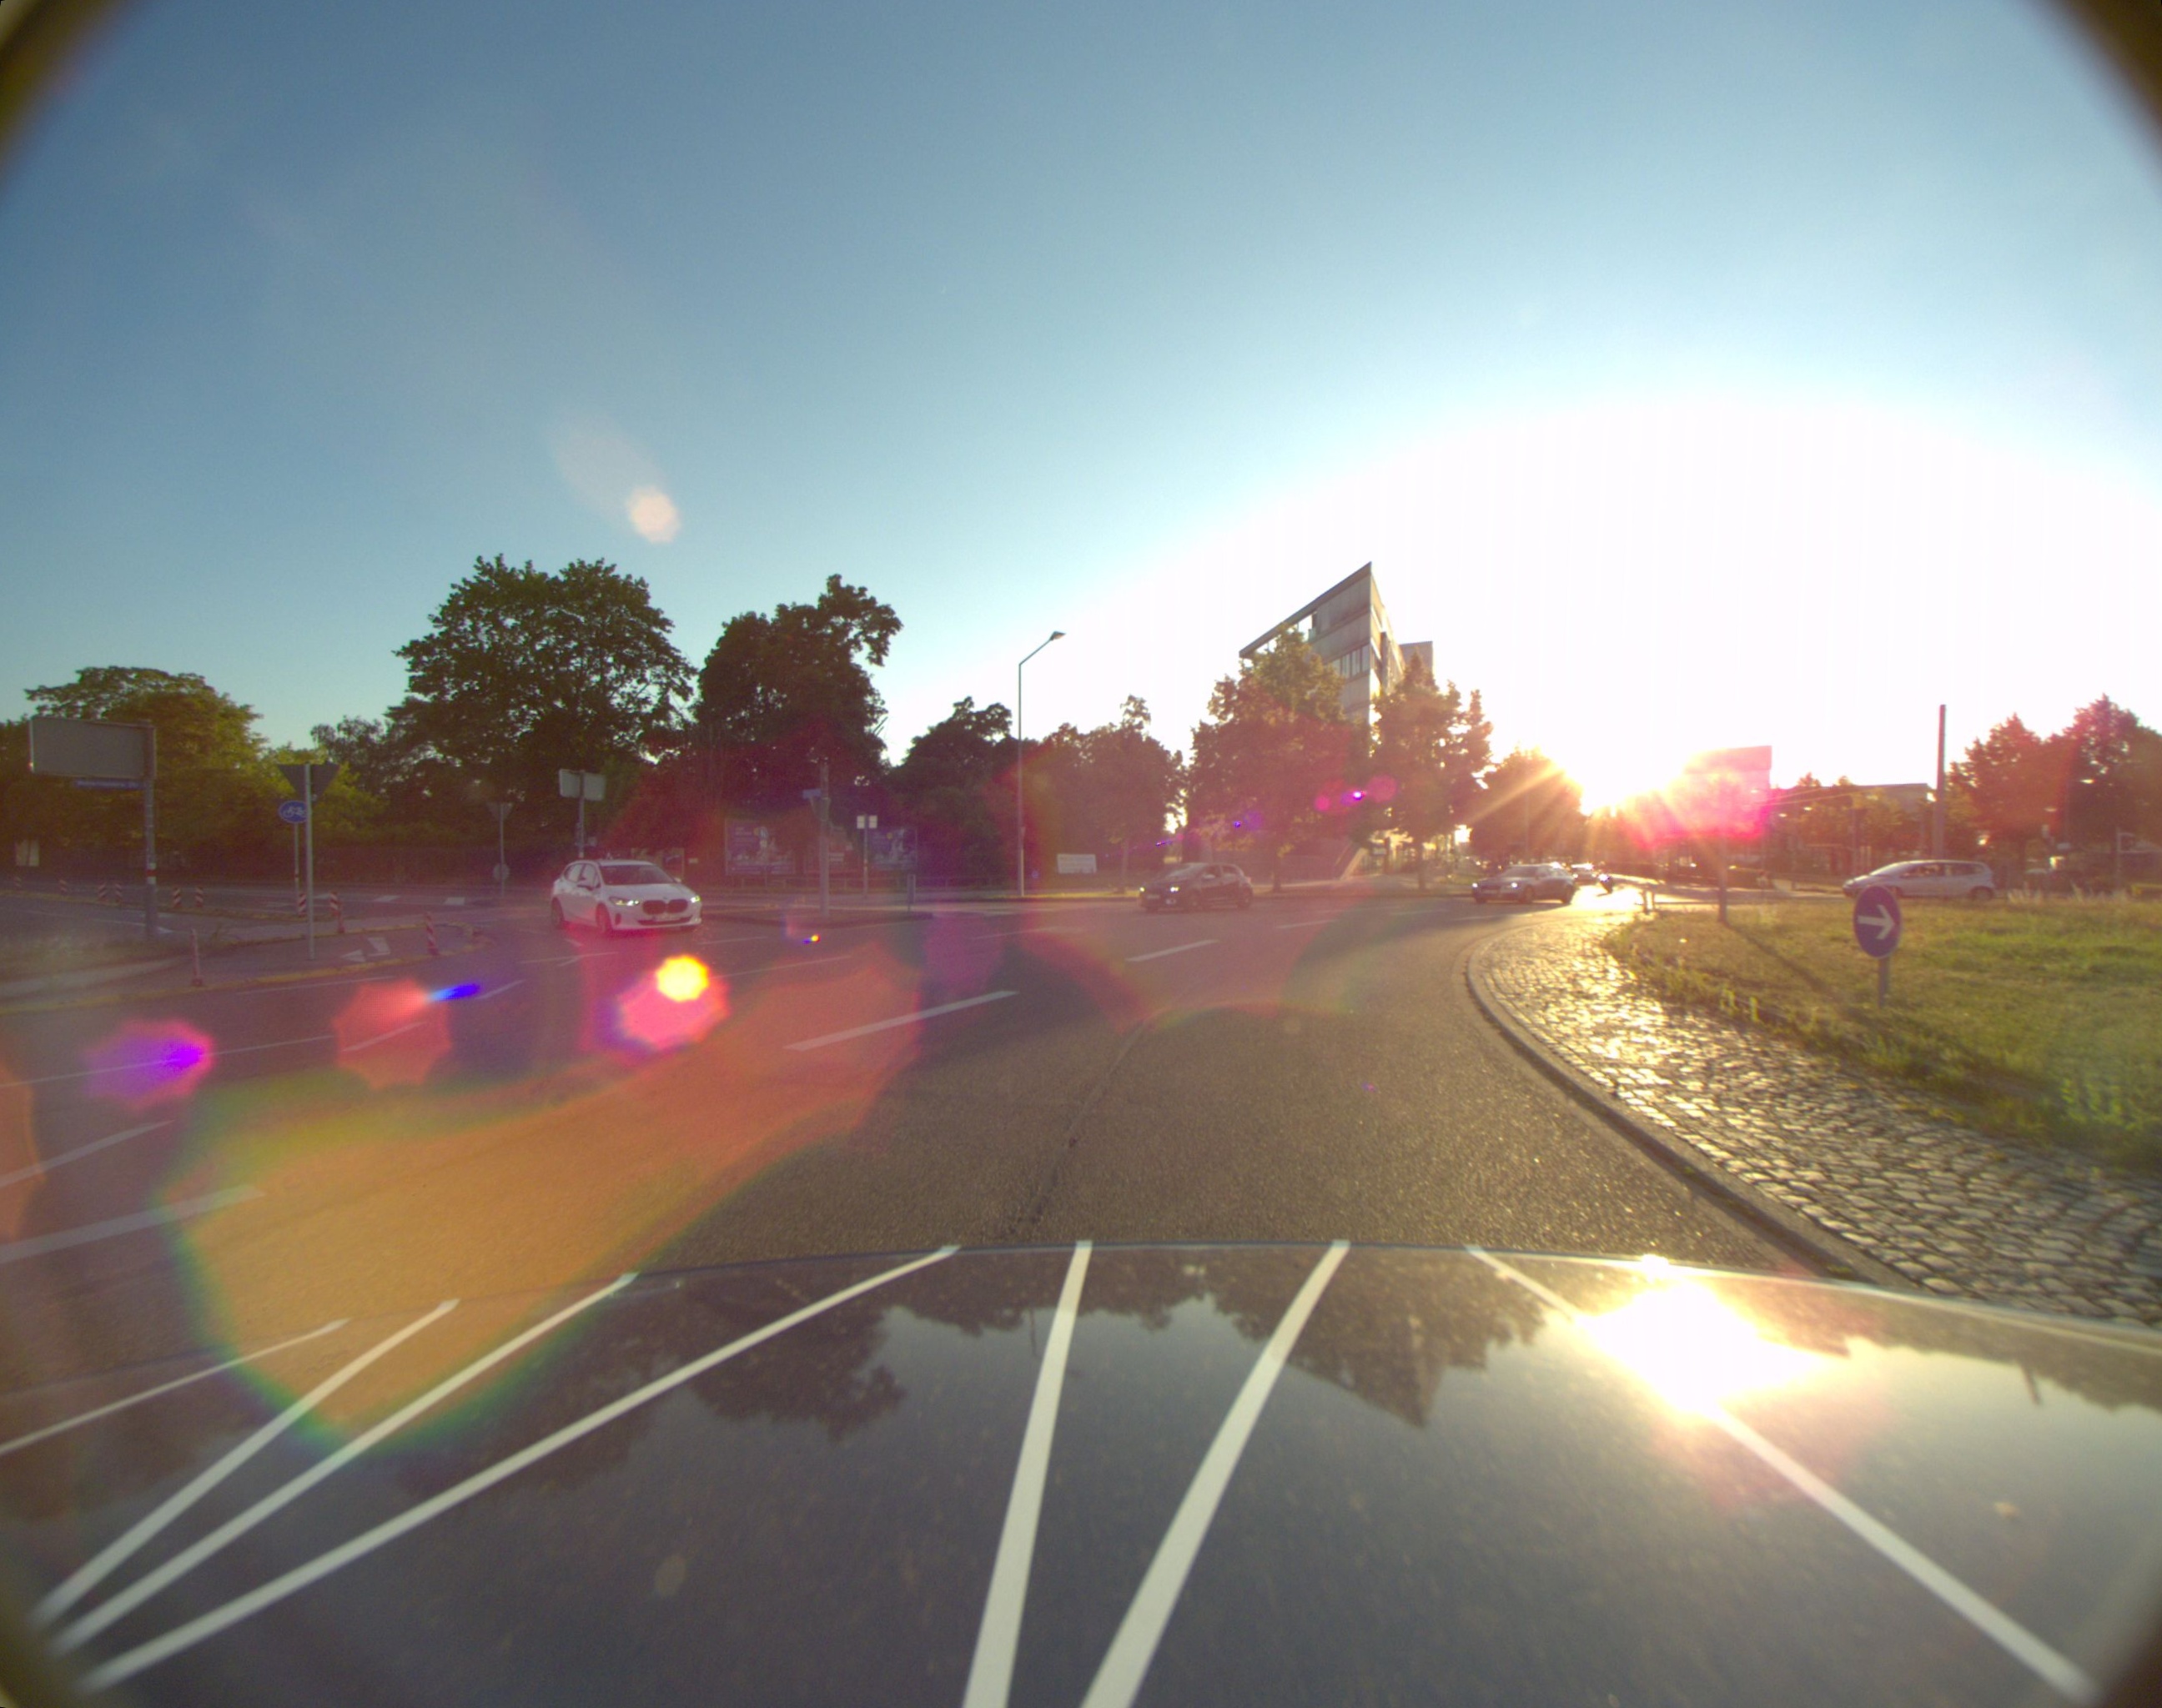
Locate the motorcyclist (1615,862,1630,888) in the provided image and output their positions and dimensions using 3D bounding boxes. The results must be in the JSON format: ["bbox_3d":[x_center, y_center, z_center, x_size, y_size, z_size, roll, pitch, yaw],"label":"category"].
[{"bbox_3d":[30.884,1.194,43.339,0.634,1.408,0.716,0,1,32],"label":"motorcyclist"}]

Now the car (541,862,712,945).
[{"bbox_3d":[-9.980,0.973,16.587,4.083,1.549,1.895,0,0,39],"label":"car"}]

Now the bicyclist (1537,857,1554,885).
[{"bbox_3d":[28.644,1.033,46.874,0.847,1.745,0.806,0,0,33],"label":"bicyclist"}]

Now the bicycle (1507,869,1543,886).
[{"bbox_3d":[26.864,1.416,46.008,1.859,1.016,0.308,0,0,17],"label":"bicycle"}]

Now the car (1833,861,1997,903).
[{"bbox_3d":[30.191,0.981,27.631,3.703,1.457,1.609,0,0,16],"label":"car"}]

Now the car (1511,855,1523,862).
[{"bbox_3d":[87.699,0.886,152.814,1.798,1.455,4.007,0,0,27],"label":"car"}]

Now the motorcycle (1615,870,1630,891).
[{"bbox_3d":[31.038,1.508,43.580,0.556,1.094,2.164,0,1,32],"label":"motorcycle"}]

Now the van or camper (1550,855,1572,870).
[{"bbox_3d":[66.763,1.192,105.783,1.995,1.946,5.338,0,1,26],"label":"van or camper"}]

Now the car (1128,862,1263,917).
[{"bbox_3d":[3.483,0.991,22.761,4.008,1.455,1.798,0,0,-41],"label":"car"}]

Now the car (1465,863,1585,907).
[{"bbox_3d":[15.726,1.049,26.861,4.457,1.414,1.798,0,0,-32],"label":"car"}]

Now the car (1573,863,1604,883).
[{"bbox_3d":[42.209,1.547,63.198,1.887,1.472,4.059,0,1,37],"label":"car"}]

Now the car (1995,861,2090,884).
[{"bbox_3d":[63.485,1.180,50.294,1.926,1.407,4.660,0,0,24],"label":"car"}]

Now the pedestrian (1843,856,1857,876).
[{"bbox_3d":[64.383,0.991,63.592,0.706,1.623,0.447,0,0,25],"label":"pedestrian"}]

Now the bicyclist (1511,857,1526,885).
[{"bbox_3d":[26.550,1.022,46.111,0.683,1.638,0.685,0,0,17],"label":"bicyclist"}]

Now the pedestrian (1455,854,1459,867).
[{"bbox_3d":[58.703,1.005,118.725,0.537,2.002,0.528,0,0,26],"label":"pedestrian"}]

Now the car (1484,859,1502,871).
[{"bbox_3d":[50.651,1.355,93.490,1.798,1.455,4.007,0,0,27],"label":"car"}]

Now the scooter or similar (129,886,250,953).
[{"bbox_3d":[-16.448,1.181,14.061,0.441,1.156,1.385,0,-1,13],"label":"scooter or similar"}]

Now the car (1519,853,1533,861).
[{"bbox_3d":[84.171,0.581,143.683,1.889,1.613,4.007,0,0,24],"label":"car"}]
